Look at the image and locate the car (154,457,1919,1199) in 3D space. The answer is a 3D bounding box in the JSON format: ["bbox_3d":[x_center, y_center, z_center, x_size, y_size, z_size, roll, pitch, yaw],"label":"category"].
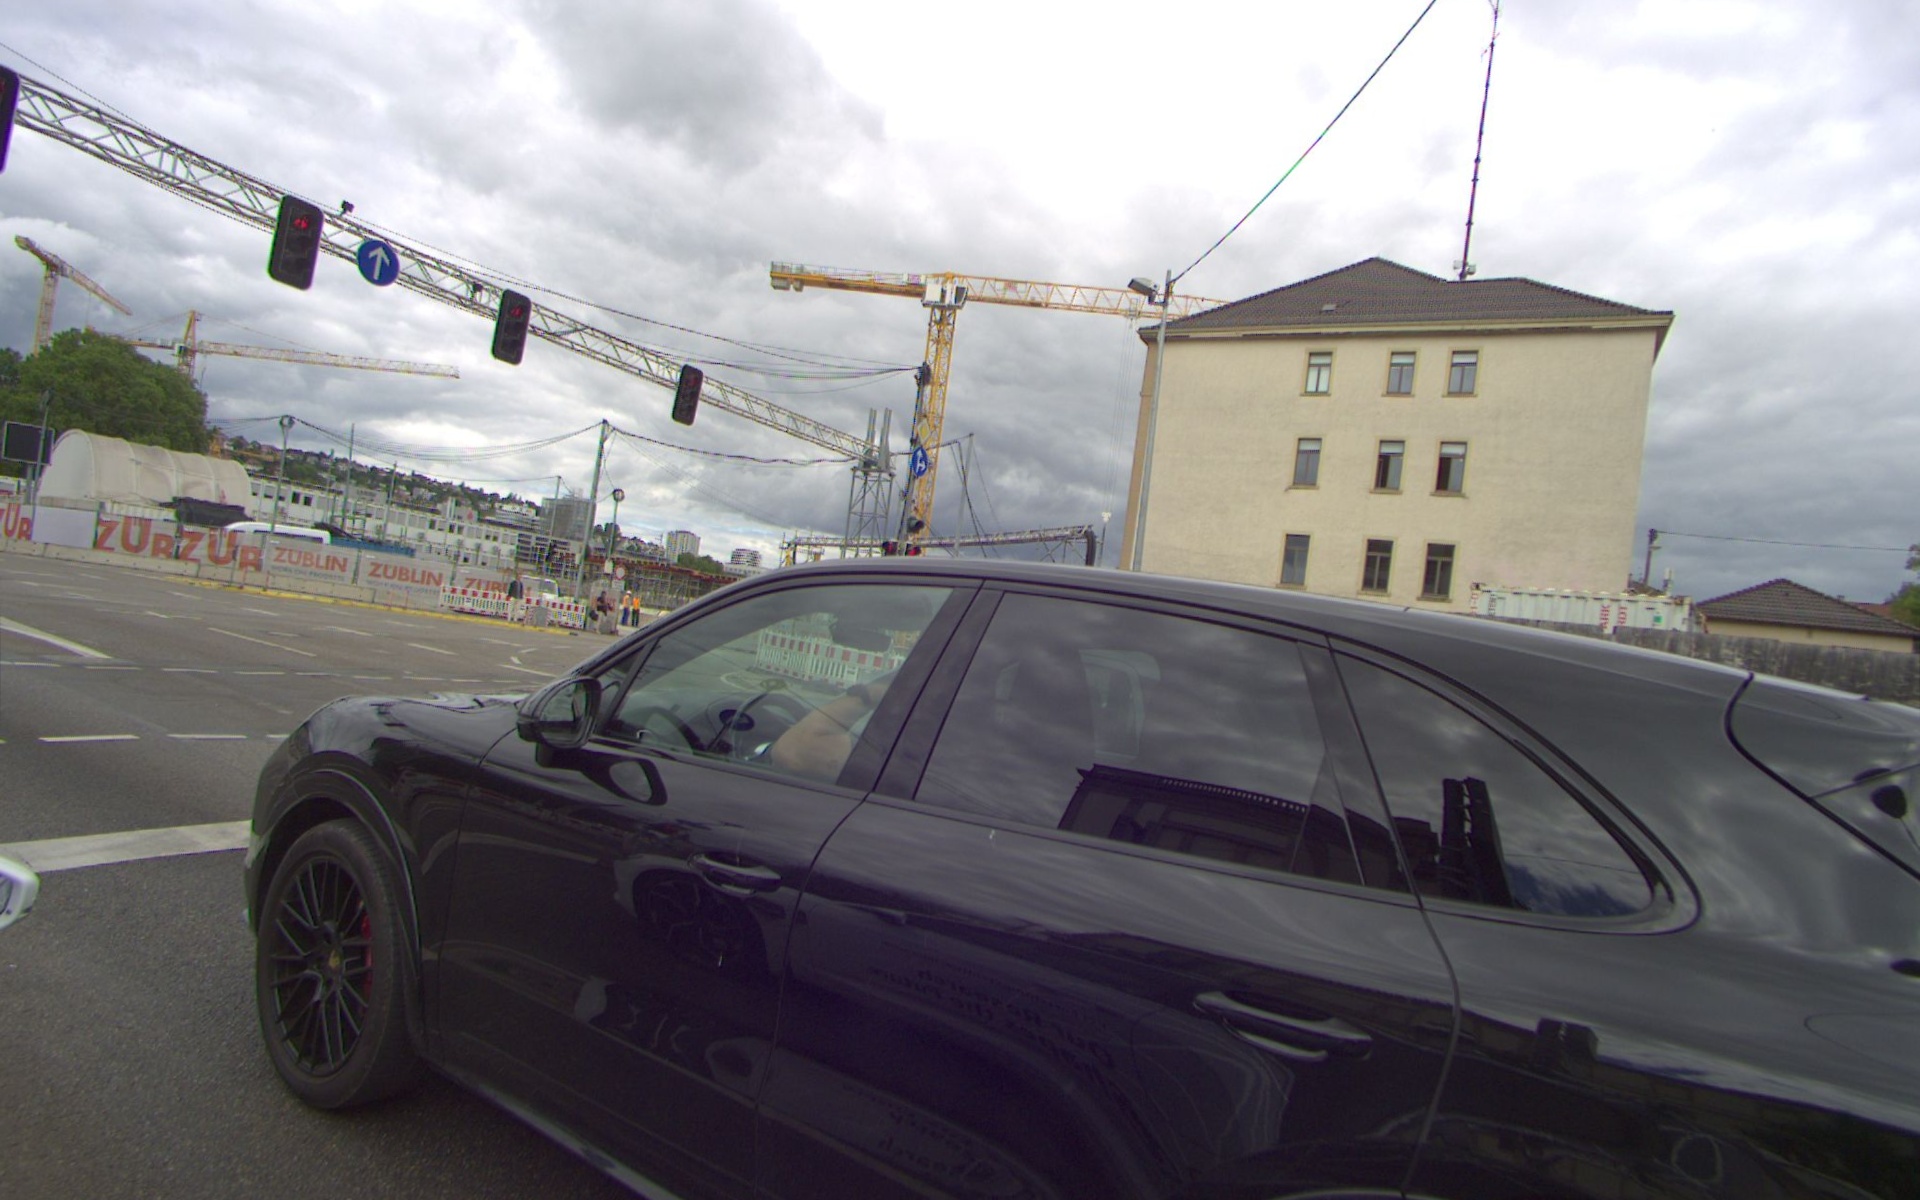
[{"bbox_3d":[0.008,0.694,2.712,4.505,1.687,1.997,6,-2,34],"label":"car"}]

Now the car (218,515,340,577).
[{"bbox_3d":[-29.517,-2.327,43.637,3.976,2.037,1.976,9,-2,-43],"label":"car"}]

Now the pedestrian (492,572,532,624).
[{"bbox_3d":[-17.448,-0.071,39.170,1.040,1.869,0.781,8,-1,-42],"label":"pedestrian"}]

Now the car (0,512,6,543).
[{"bbox_3d":[-55.259,-4.336,54.843,1.929,1.720,4.185,7,-2,13],"label":"car"}]

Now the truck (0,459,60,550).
[{"bbox_3d":[-58.454,-6.068,57.773,3.054,5.017,9.760,7,-2,11],"label":"truck"}]

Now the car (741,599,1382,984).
[{"bbox_3d":[0.589,1.003,6.549,3.587,1.527,1.825,6,-2,33],"label":"car"}]

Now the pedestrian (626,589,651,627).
[{"bbox_3d":[-17.490,0.443,54.689,0.850,1.938,0.680,7,-1,26],"label":"pedestrian"}]

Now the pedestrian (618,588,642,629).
[{"bbox_3d":[-17.634,0.446,53.821,0.855,2.037,0.677,6,-1,44],"label":"pedestrian"}]

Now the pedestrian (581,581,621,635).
[{"bbox_3d":[-14.672,0.334,41.124,1.038,2.037,1.024,8,-1,-38],"label":"pedestrian"}]
